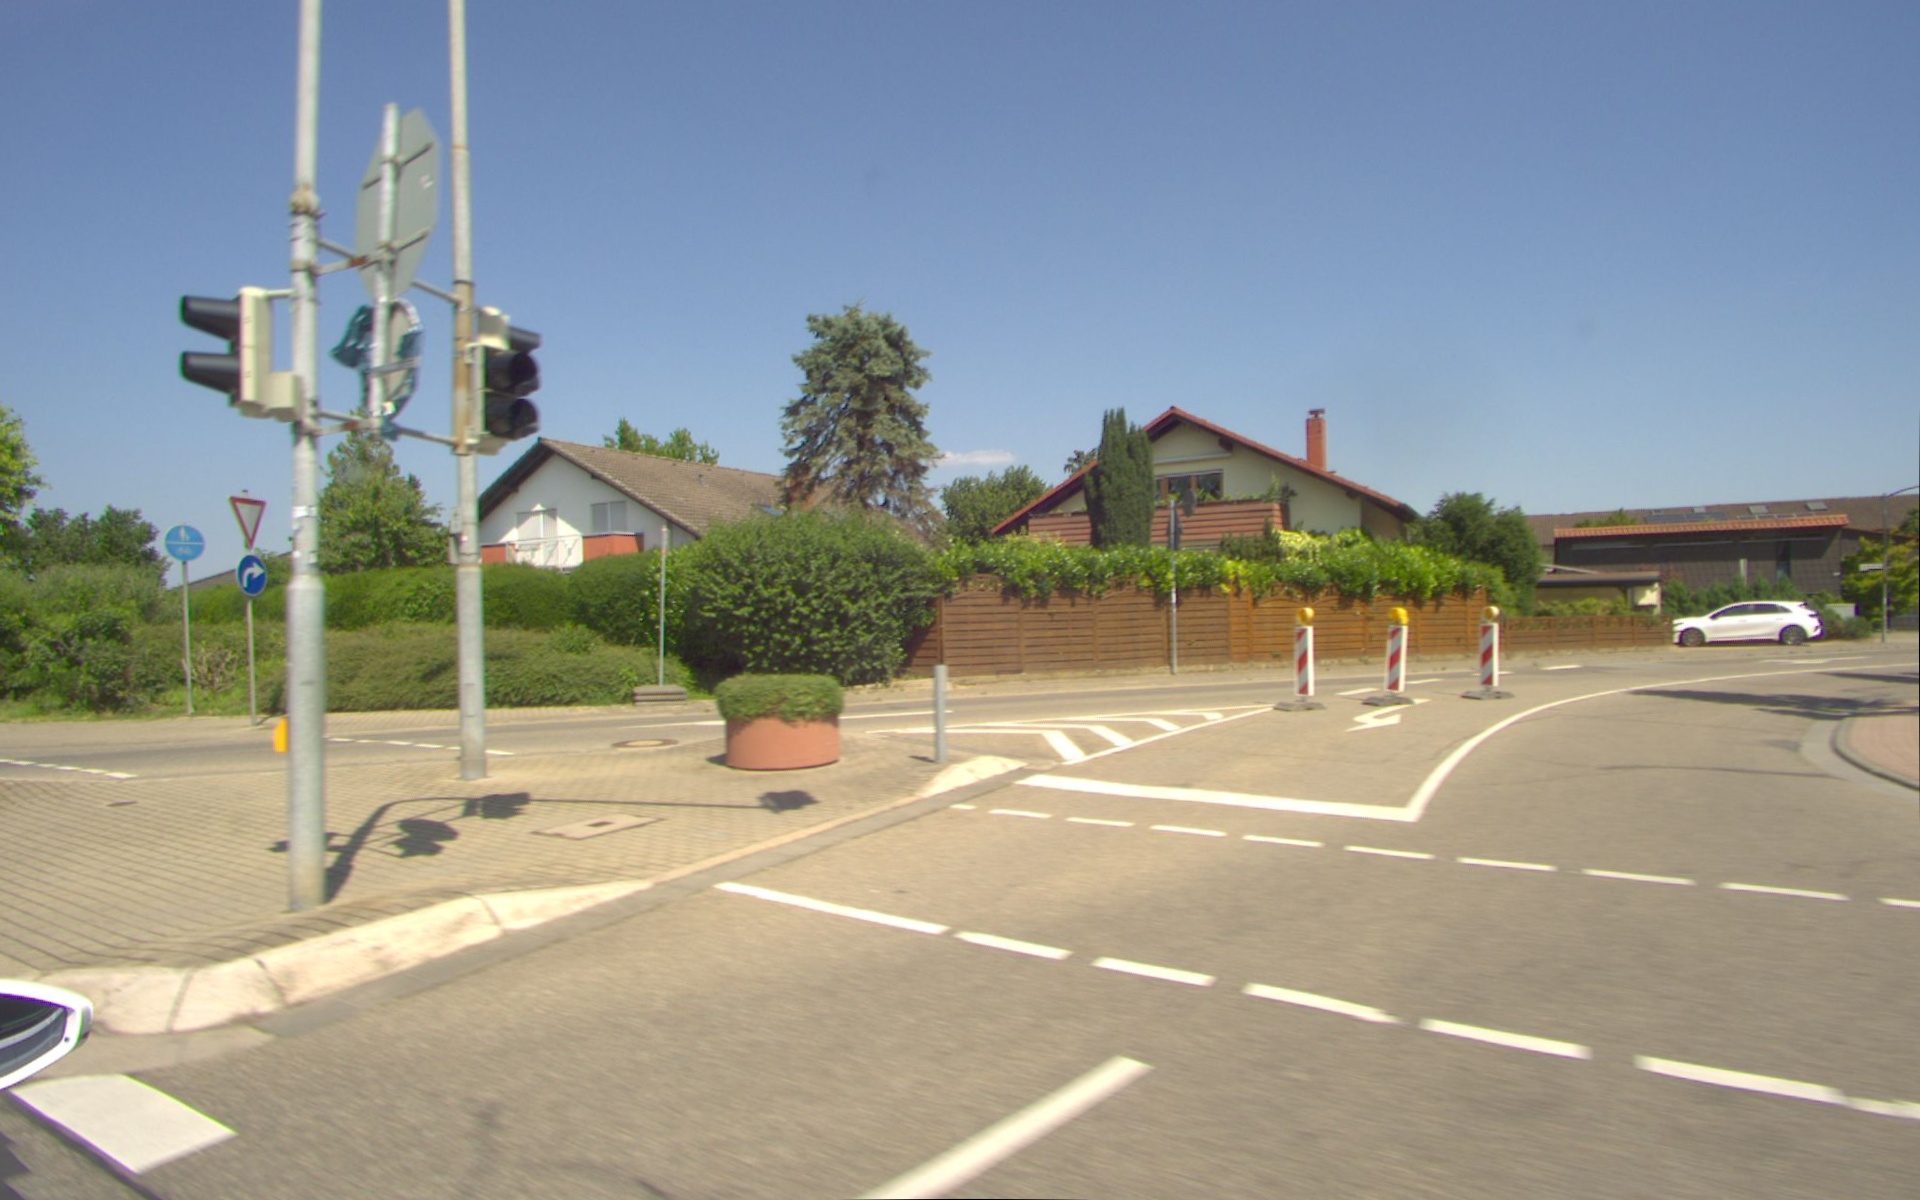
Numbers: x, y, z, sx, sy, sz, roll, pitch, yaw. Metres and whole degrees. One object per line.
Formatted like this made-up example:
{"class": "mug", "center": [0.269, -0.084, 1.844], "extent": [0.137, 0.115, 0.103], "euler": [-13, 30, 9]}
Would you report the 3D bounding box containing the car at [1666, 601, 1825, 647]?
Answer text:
{"class": "car", "center": [25.688, 0.789, 32.911], "extent": [3.926, 1.450, 1.417], "euler": [-1, 0, 31]}
